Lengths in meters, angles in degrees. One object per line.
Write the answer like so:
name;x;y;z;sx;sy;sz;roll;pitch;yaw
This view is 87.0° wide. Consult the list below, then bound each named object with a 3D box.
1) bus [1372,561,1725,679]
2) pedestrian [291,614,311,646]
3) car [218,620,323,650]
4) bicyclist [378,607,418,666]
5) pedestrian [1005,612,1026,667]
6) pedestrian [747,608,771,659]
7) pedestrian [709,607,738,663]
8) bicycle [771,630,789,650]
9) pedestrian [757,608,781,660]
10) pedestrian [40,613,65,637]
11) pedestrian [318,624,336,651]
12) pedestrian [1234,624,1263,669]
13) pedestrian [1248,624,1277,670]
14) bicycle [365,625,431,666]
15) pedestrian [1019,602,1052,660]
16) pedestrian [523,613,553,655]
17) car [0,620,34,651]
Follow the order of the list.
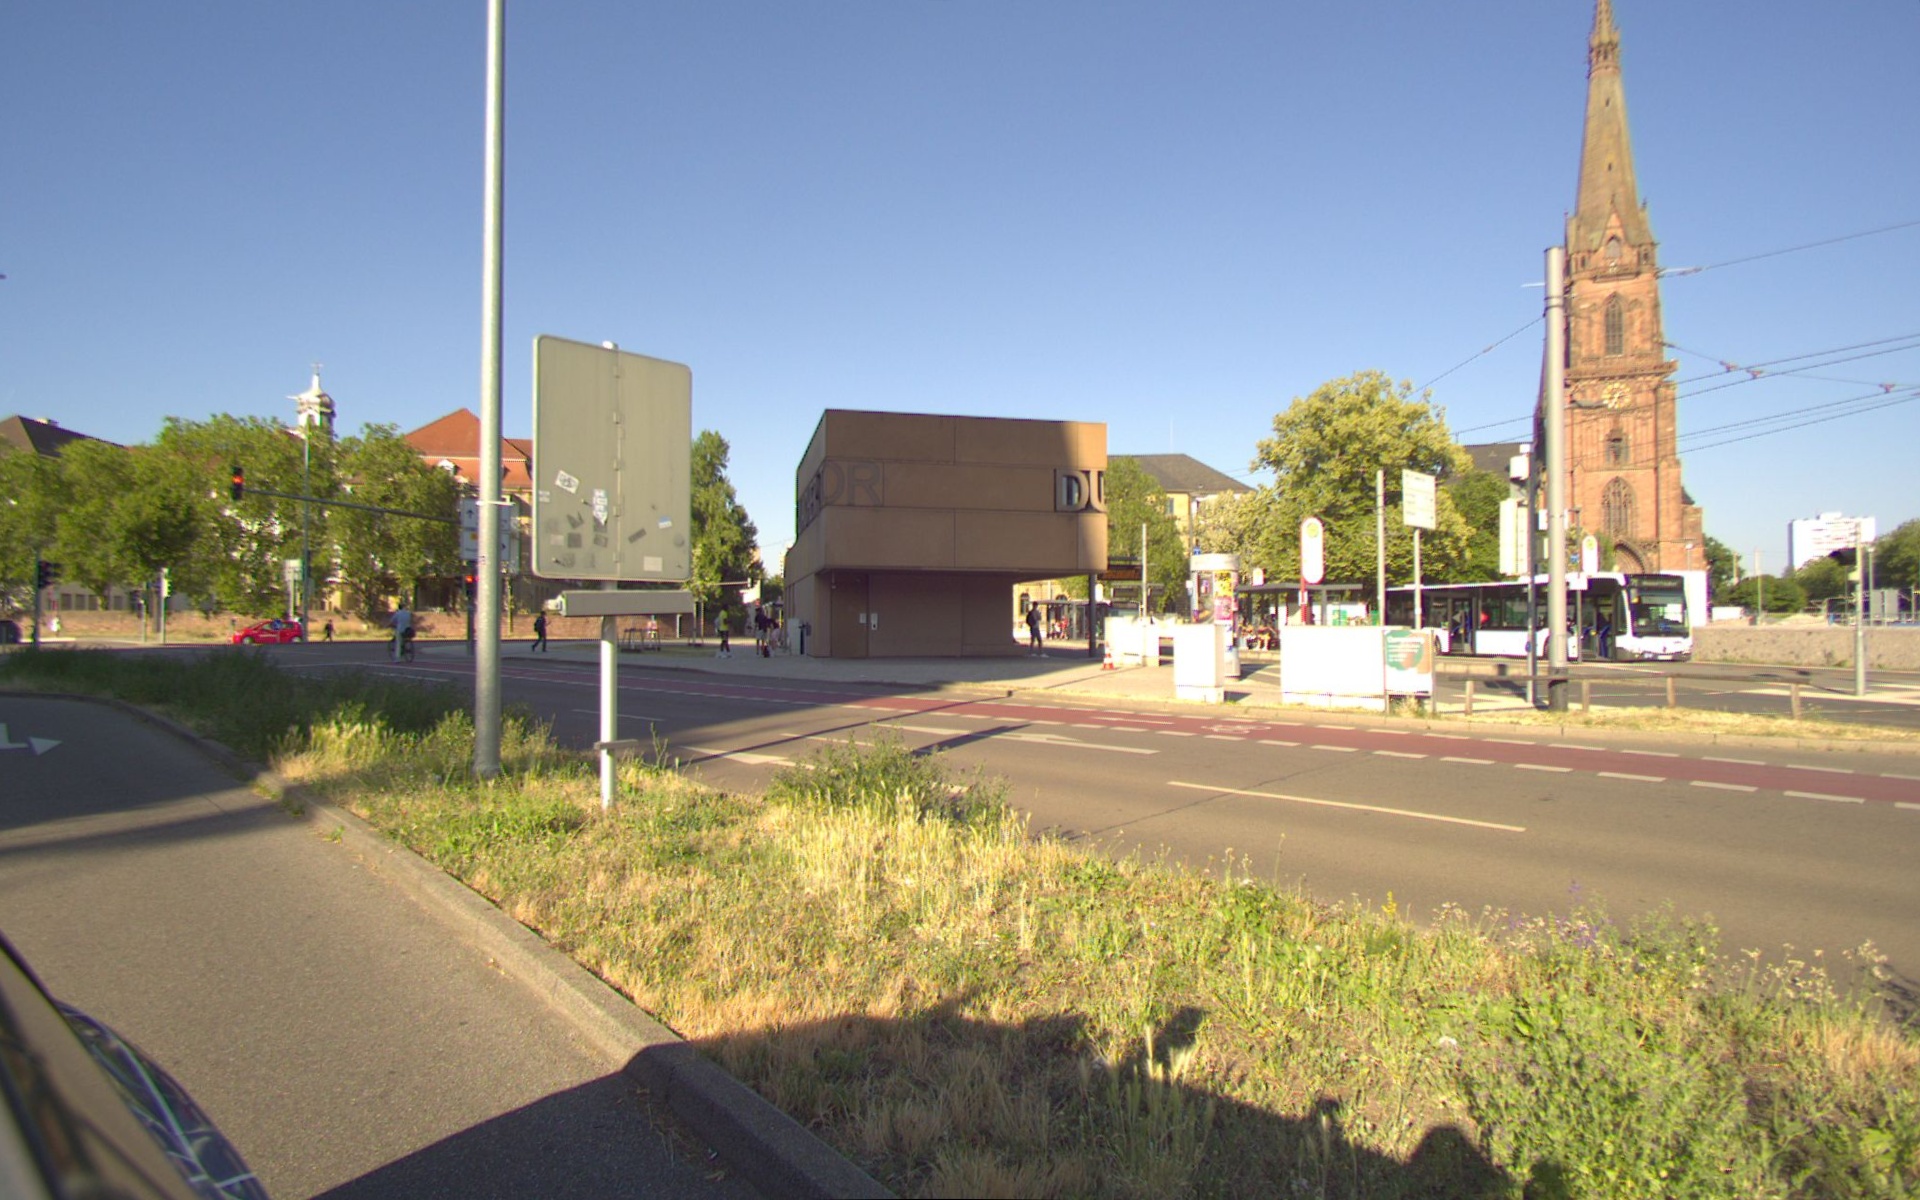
bus;20.002;0.537;36.079;3.196;3.342;12.220;4;0;-13
pedestrian;-40.207;1.844;61.752;0.713;1.908;0.860;3;1;43
car;-39.463;1.994;58.009;2.192;1.598;4.547;-4;-3;38
bicyclist;-18.041;1.155;32.480;1.010;1.846;0.734;0;-1;32
pedestrian;2.070;1.476;37.935;0.605;2.029;0.808;-2;-2;-3
pedestrian;-6.776;1.123;34.035;0.628;1.702;0.552;-1;-2;-26
pedestrian;-7.913;1.169;33.912;0.707;1.849;0.640;0;-3;-39
bicycle;-10.402;2.328;58.386;0.732;1.114;2.131;-1;-2;-17
pedestrian;-6.619;1.183;35.016;0.724;1.744;0.666;-1;-2;-14
pedestrian;-59.171;1.616;65.990;0.917;1.548;0.965;-1;-2;26
pedestrian;-39.749;2.365;63.561;0.779;1.665;0.715;2;0;-23
pedestrian;13.052;2.104;45.859;0.980;1.997;0.831;1;-3;-11
pedestrian;13.190;2.037;44.096;0.965;1.997;0.720;1;-3;-11
bicycle;-18.047;1.436;32.487;2.548;1.265;0.734;0;-1;33
pedestrian;2.653;1.100;35.577;0.964;1.997;0.720;1;-3;-13
pedestrian;-17.387;1.408;41.668;0.747;1.697;0.887;-2;-2;41
car;-52.530;1.939;53.692;4.527;1.598;2.202;-1;-2;-21
